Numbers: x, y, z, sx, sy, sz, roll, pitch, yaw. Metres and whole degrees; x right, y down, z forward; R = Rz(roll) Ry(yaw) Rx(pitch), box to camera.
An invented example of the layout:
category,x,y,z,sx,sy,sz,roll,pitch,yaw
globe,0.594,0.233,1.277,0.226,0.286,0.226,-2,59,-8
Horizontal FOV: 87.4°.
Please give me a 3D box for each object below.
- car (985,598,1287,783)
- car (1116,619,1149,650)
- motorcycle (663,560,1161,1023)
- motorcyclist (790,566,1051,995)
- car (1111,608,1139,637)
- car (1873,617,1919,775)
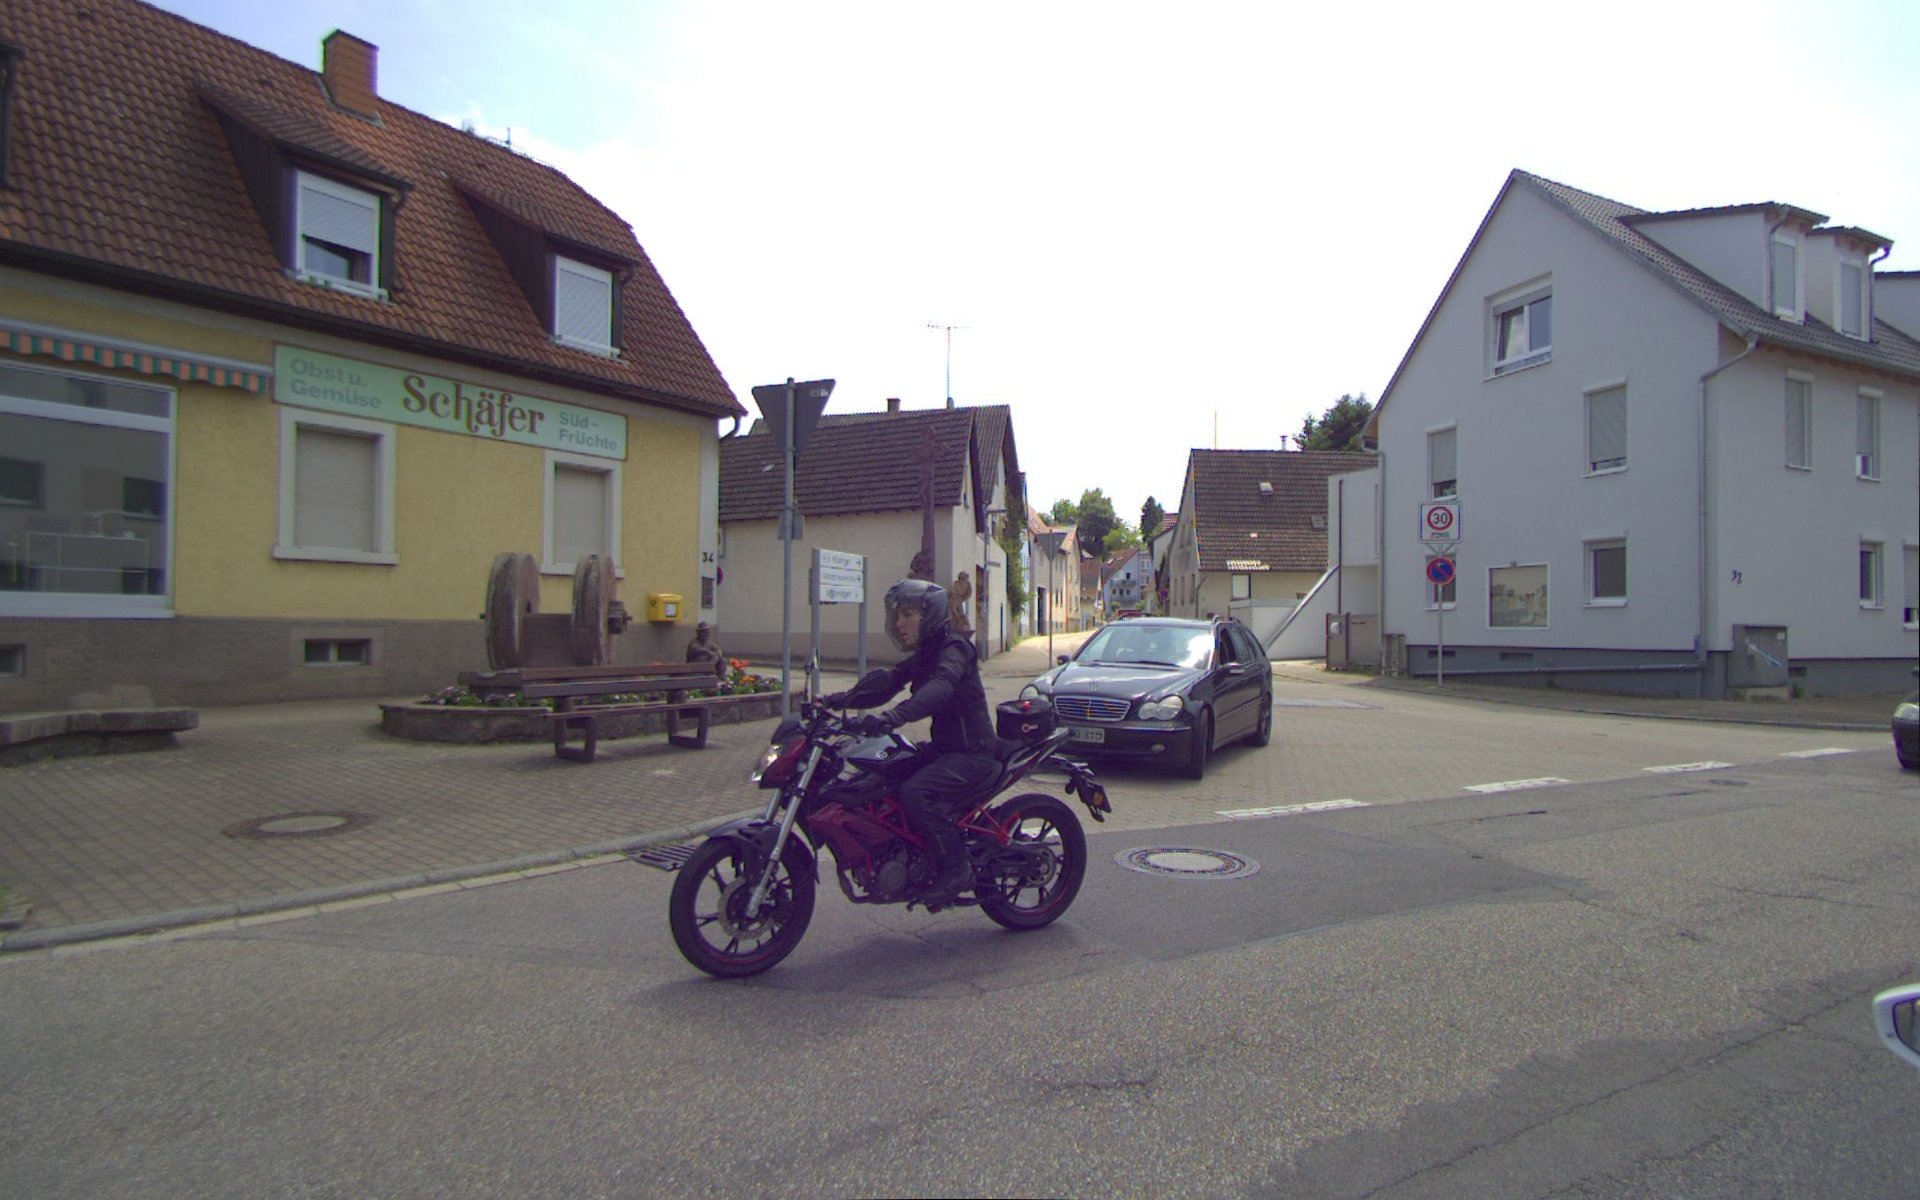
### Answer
category,x,y,z,sx,sy,sz,roll,pitch,yaw
car,2.086,0.825,10.480,1.780,1.430,4.632,1,-2,27
car,9.422,1.884,55.026,1.461,1.550,3.478,2,-2,4
motorcycle,-0.184,0.670,4.291,1.943,1.581,0.877,1,0,-28
motorcyclist,-0.195,0.671,4.280,0.797,1.575,0.892,1,0,-29
car,9.899,1.370,60.422,1.369,1.656,3.478,2,-2,4
car,11.283,1.028,10.502,3.811,1.560,1.493,3,-2,-30
